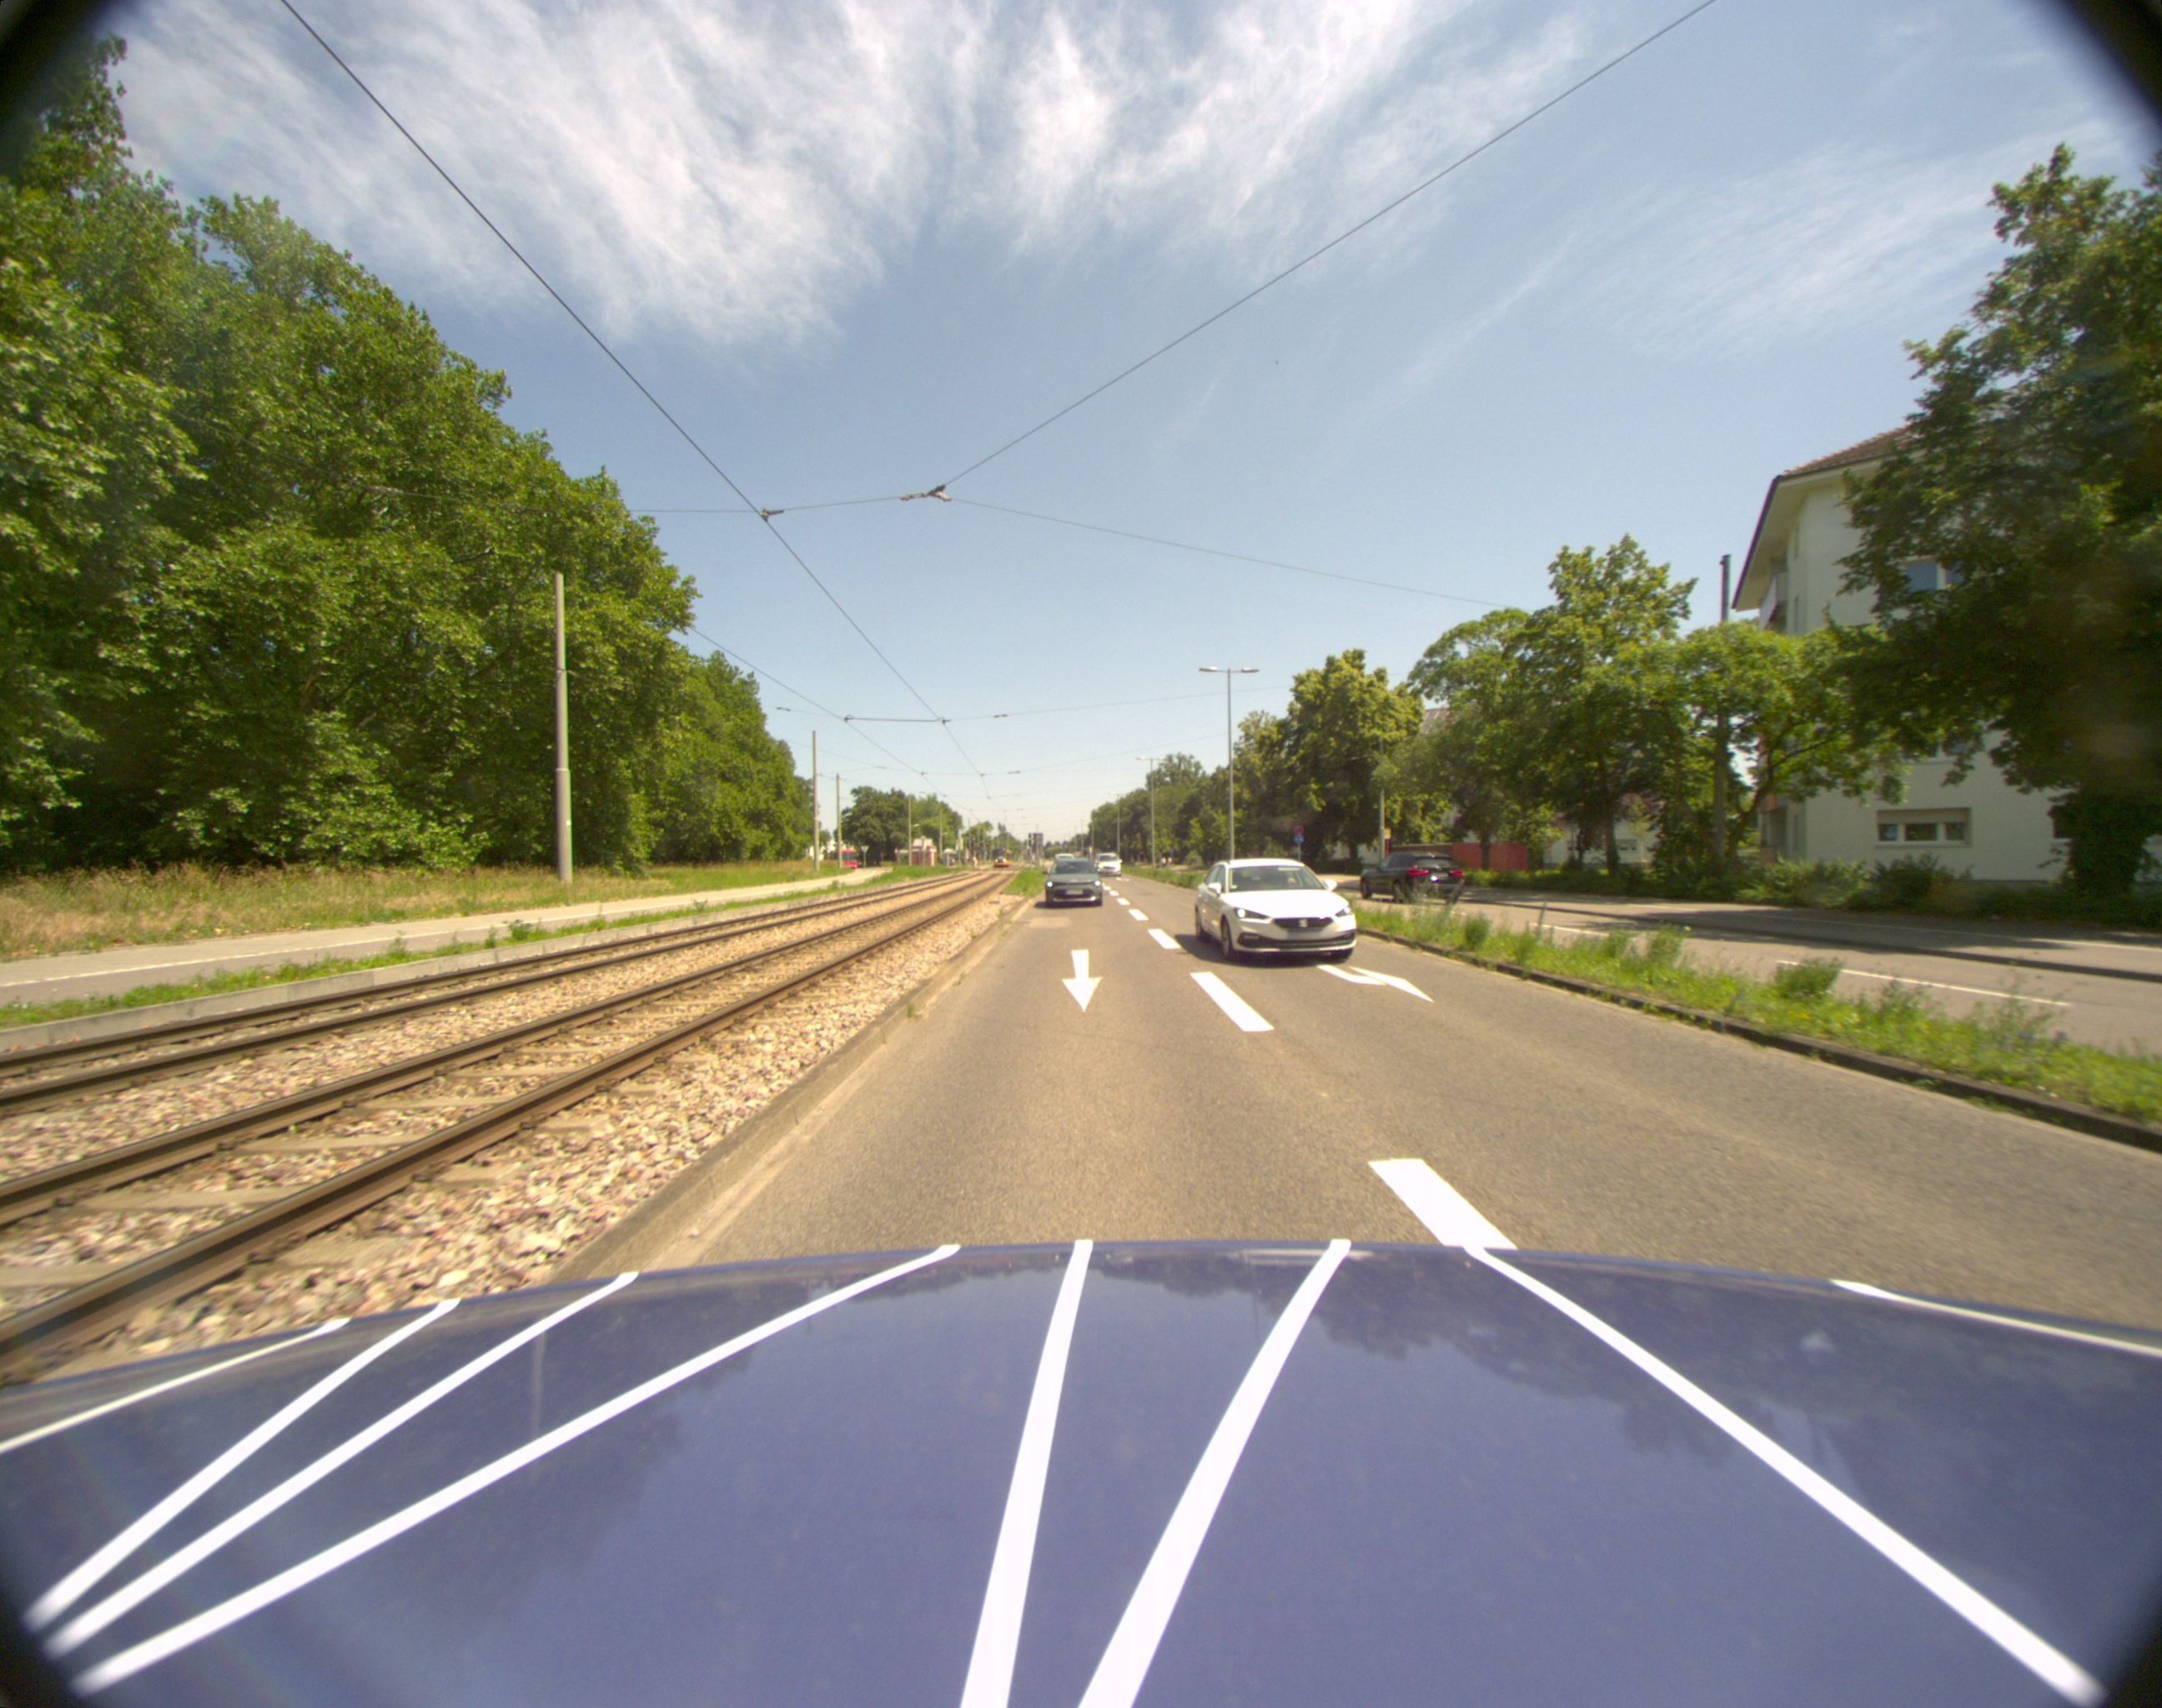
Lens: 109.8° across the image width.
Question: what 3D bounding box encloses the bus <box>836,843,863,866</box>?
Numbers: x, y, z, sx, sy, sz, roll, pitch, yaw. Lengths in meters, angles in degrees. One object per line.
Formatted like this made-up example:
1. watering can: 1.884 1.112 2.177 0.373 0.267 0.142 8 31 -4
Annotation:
1. bus: -37.020 0.013 121.084 2.771 3.419 12.421 -3 1 -22

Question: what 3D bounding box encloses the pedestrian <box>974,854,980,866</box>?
1. pedestrian: -15.546 0.869 113.555 0.637 1.749 0.815 -3 2 -16

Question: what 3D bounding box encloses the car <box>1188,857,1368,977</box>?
1. car: 2.870 0.839 12.010 1.772 1.460 4.111 -2 0 1

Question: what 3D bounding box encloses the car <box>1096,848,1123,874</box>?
1. car: 2.263 0.523 61.602 1.999 2.002 3.999 0 0 -1

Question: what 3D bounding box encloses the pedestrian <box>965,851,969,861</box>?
1. pedestrian: -20.440 0.344 136.228 0.707 1.754 0.657 0 1 -1

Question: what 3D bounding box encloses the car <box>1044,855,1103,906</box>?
1. car: -0.259 0.819 25.286 1.788 1.554 4.134 0 0 -1

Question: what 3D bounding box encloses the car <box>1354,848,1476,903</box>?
1. car: 10.969 0.637 25.370 1.928 1.616 4.755 1 1 -1

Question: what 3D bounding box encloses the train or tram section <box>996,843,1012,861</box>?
1. train or tram section: -14.333 -0.377 142.623 2.525 3.303 7.258 -1 0 -2

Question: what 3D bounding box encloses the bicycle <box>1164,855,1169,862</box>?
1. bicycle: 12.270 0.645 109.134 0.590 1.126 1.615 0 0 -3

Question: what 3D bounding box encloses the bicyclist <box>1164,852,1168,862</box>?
1. bicyclist: 12.259 0.424 109.613 0.546 1.338 0.755 0 1 -4

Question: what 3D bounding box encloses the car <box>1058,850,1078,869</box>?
1. car: -1.412 0.543 81.725 1.922 2.002 3.998 -1 0 -4

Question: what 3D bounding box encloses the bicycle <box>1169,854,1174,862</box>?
1. bicycle: 12.996 0.616 109.320 0.555 1.088 1.379 -2 1 -2
